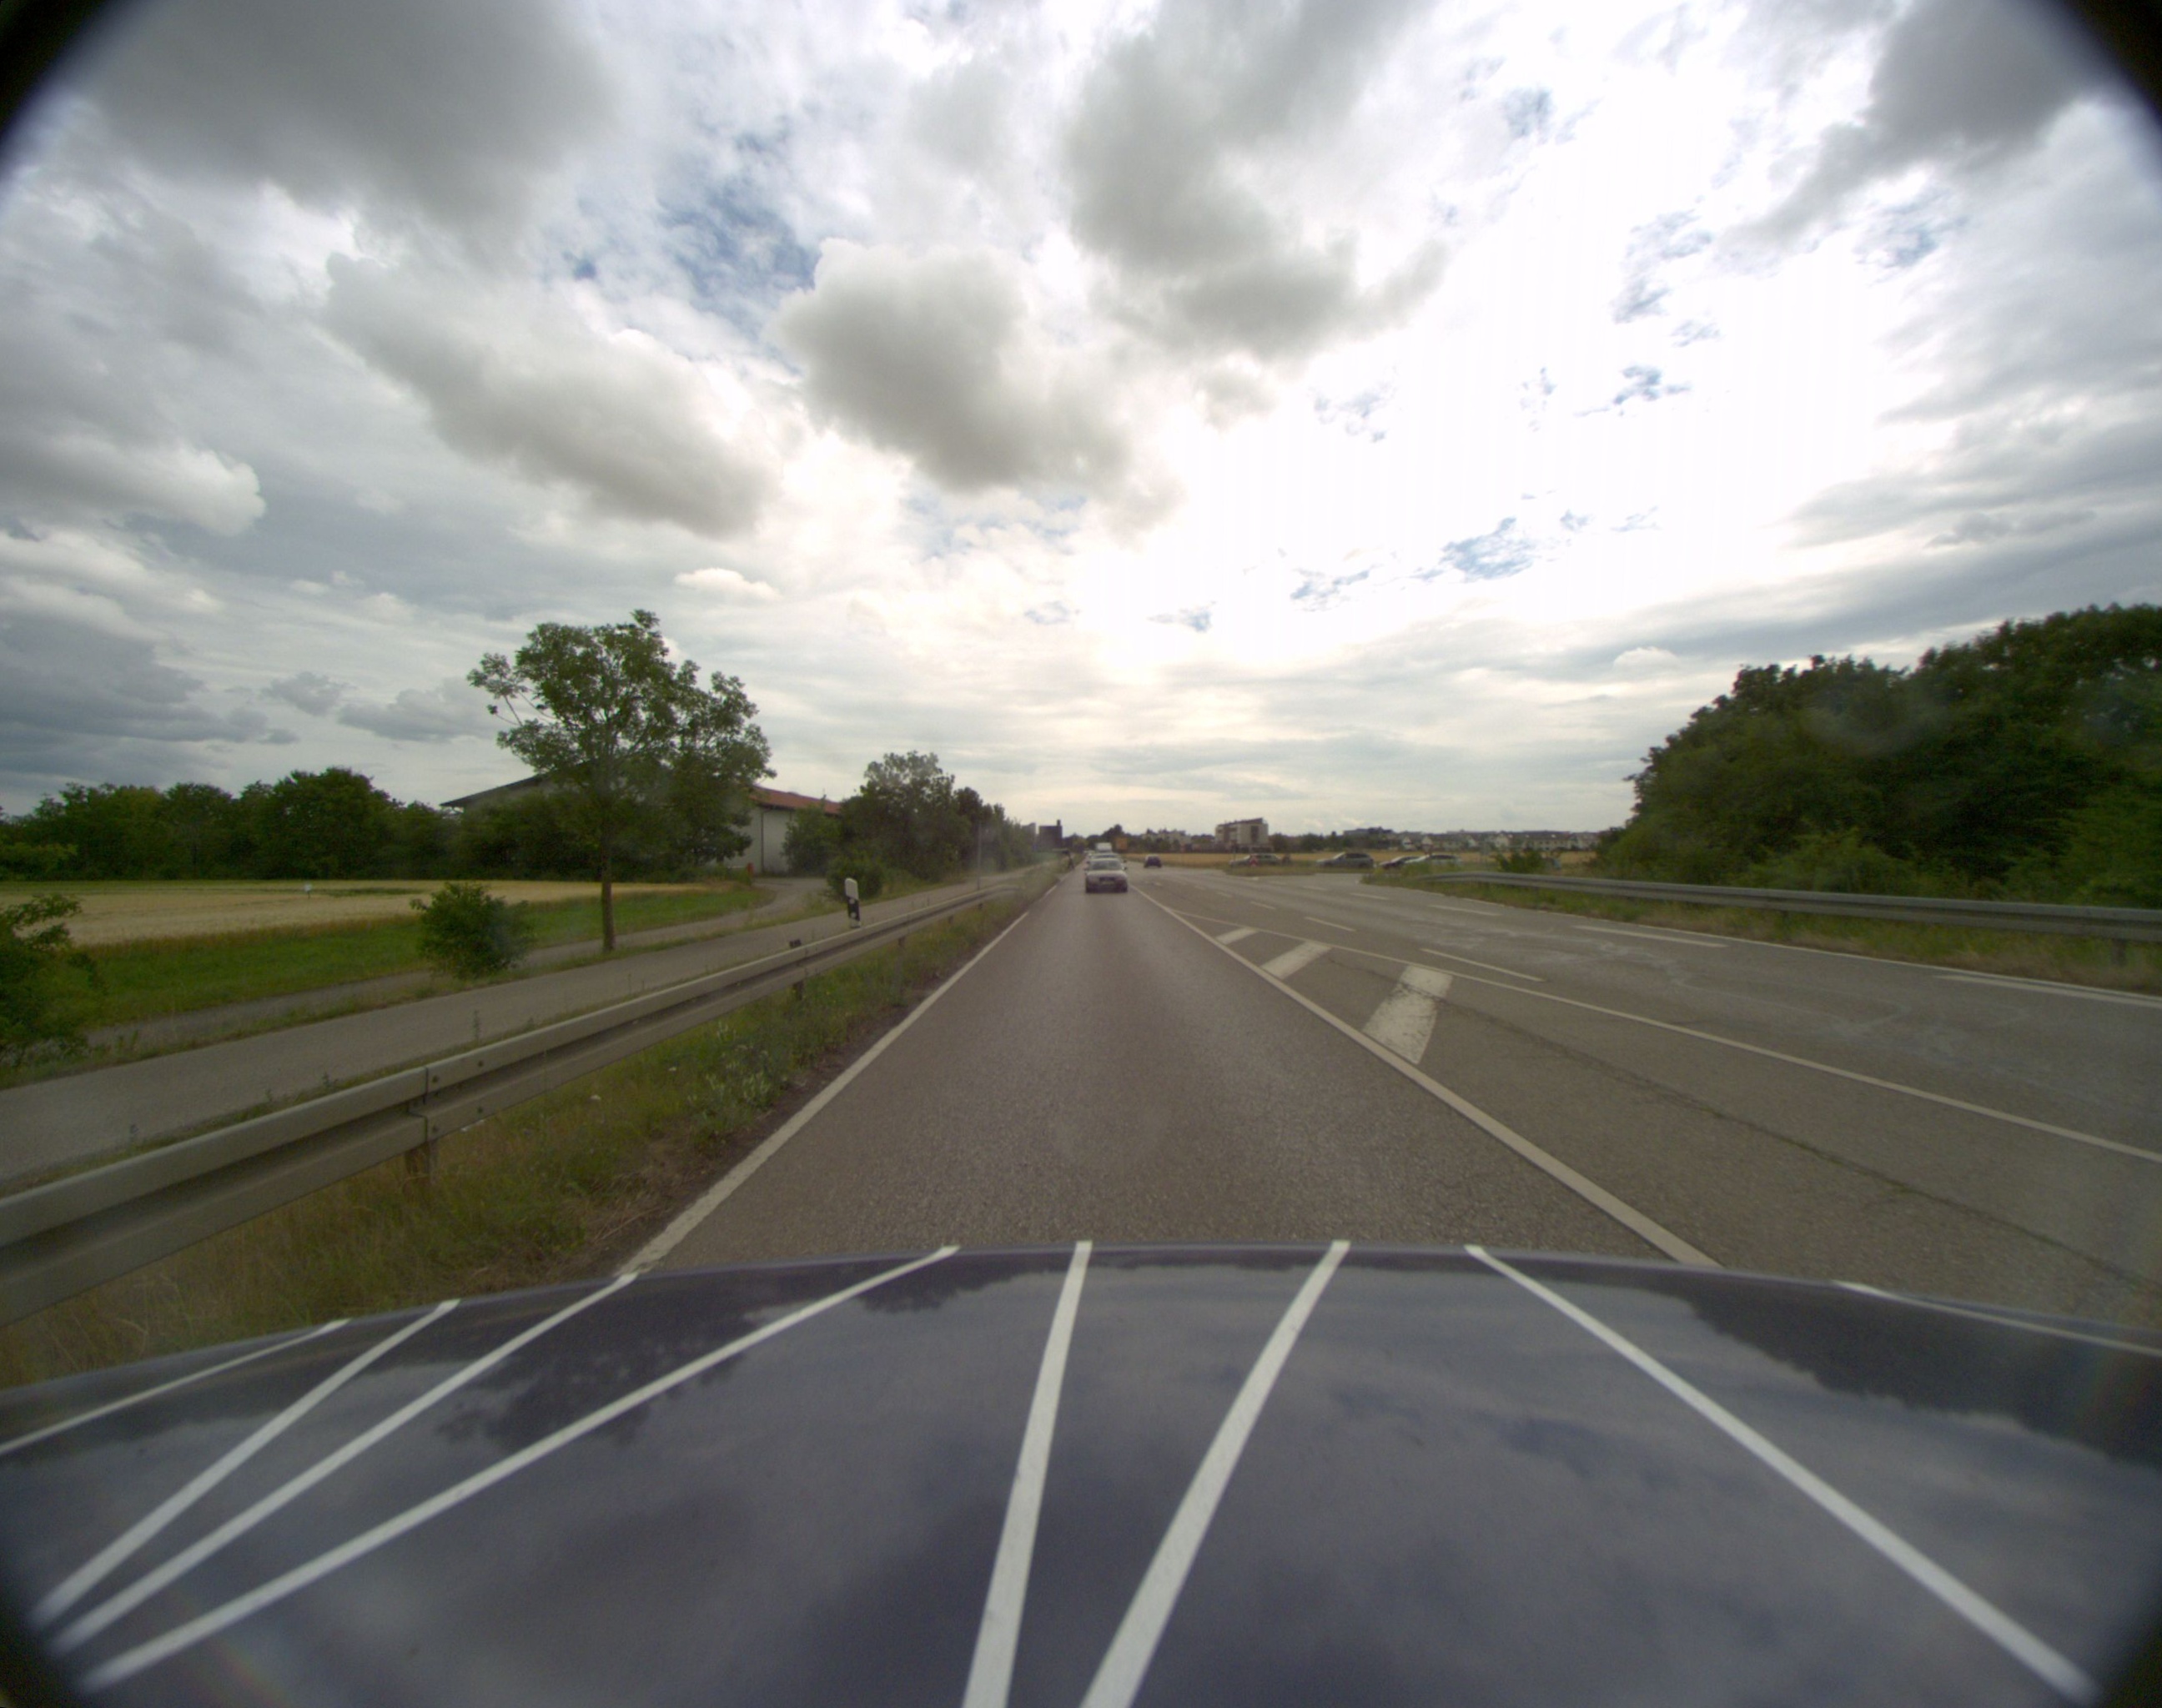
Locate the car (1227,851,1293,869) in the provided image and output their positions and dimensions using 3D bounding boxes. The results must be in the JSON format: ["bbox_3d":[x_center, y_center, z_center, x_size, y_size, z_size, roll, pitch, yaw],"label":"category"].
[{"bbox_3d":[15.282,0.520,65.032,5.295,1.512,1.912,0,1,7],"label":"car"}]

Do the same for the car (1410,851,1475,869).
[{"bbox_3d":[29.963,0.497,63.132,4.500,1.474,1.912,0,1,7],"label":"car"}]

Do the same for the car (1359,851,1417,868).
[{"bbox_3d":[26.728,0.469,66.237,4.406,1.474,1.912,0,1,7],"label":"car"}]

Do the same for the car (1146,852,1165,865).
[{"bbox_3d":[8.193,0.453,83.772,1.867,1.368,4.000,-1,0,2],"label":"car"}]

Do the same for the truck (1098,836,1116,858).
[{"bbox_3d":[4.340,-1.131,127.721,2.813,3.588,11.219,0,0,1],"label":"truck"}]

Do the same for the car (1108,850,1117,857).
[{"bbox_3d":[7.771,-0.073,185.750,1.747,1.521,4.198,-2,0,-3],"label":"car"}]

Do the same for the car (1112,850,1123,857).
[{"bbox_3d":[7.919,-0.110,165.668,2.170,1.277,4.237,-2,0,0],"label":"car"}]

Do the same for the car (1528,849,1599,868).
[{"bbox_3d":[39.678,0.345,62.553,4.500,1.474,1.912,0,1,7],"label":"car"}]

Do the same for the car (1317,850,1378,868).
[{"bbox_3d":[22.551,0.430,64.440,4.632,1.508,1.912,0,1,7],"label":"car"}]

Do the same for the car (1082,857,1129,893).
[{"bbox_3d":[1.011,0.869,33.057,1.910,1.416,4.464,0,0,0],"label":"car"}]
